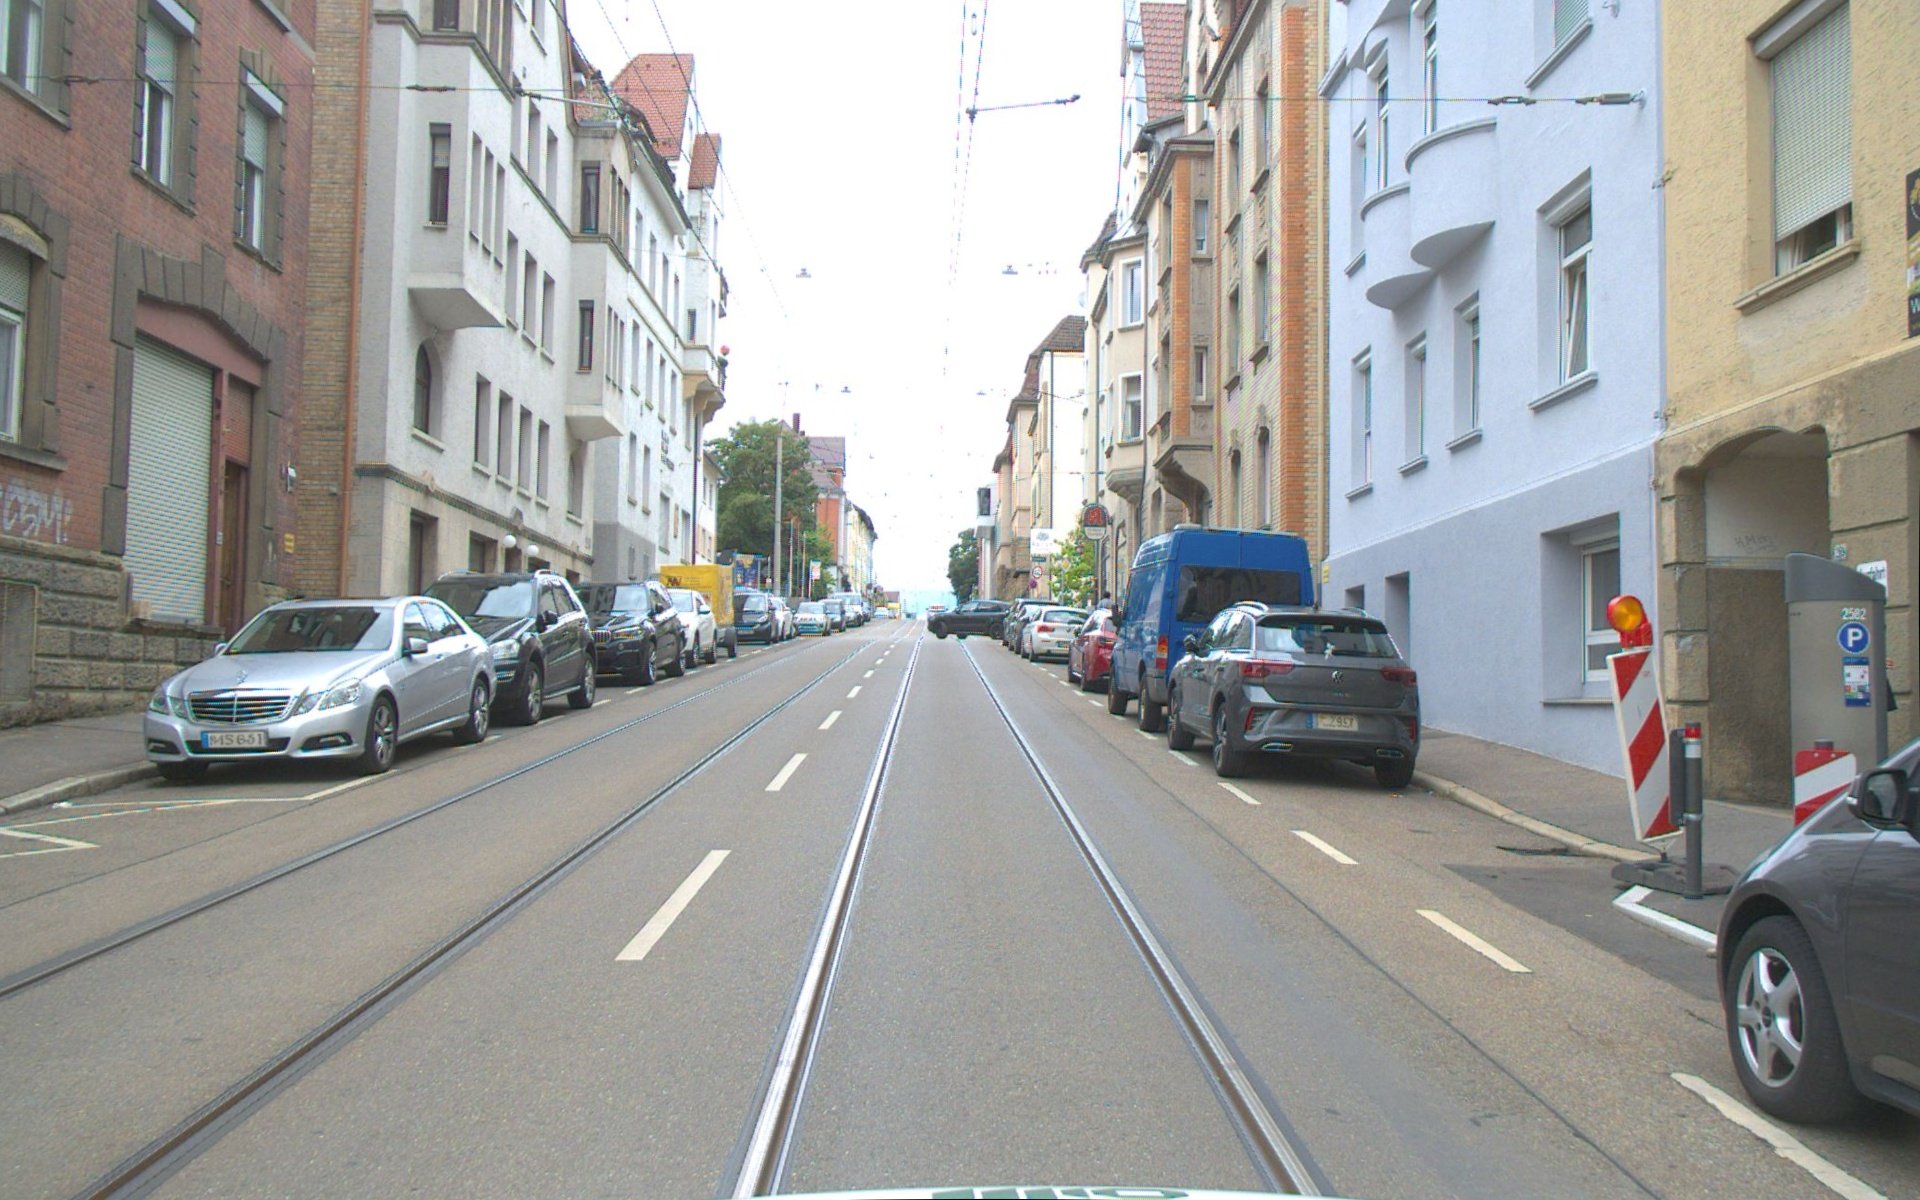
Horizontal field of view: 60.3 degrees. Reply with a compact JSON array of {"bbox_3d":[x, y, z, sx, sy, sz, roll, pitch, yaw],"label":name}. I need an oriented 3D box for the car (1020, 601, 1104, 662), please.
[{"bbox_3d":[2.602,0.782,43.188,1.715,1.415,4.306,3,0,-2],"label":"car"}]

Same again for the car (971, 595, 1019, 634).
[{"bbox_3d":[1.482,0.601,71.511,1.953,1.590,4.289,1,0,0],"label":"car"}]

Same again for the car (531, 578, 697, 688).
[{"bbox_3d":[-5.881,0.511,28.702,1.835,1.693,4.891,-1,0,0],"label":"car"}]

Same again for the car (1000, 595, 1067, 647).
[{"bbox_3d":[2.388,0.682,54.797,1.700,1.564,4.571,3,0,-3],"label":"car"}]

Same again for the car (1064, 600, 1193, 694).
[{"bbox_3d":[2.992,0.804,30.216,1.744,1.501,4.588,3,0,-1],"label":"car"}]

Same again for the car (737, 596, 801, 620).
[{"bbox_3d":[-12.395,0.495,107.570,3.978,1.470,1.687,1,0,-2],"label":"car"}]

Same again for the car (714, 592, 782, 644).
[{"bbox_3d":[-6.451,0.545,50.580,1.662,1.494,3.023,-1,0,-1],"label":"car"}]

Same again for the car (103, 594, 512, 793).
[{"bbox_3d":[-5.618,0.702,14.998,1.790,1.454,4.838,-1,0,0],"label":"car"}]

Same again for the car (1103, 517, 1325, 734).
[{"bbox_3d":[3.102,0.318,21.255,1.953,2.418,5.055,1,-1,-1],"label":"car"}]

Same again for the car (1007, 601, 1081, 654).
[{"bbox_3d":[2.475,0.785,49.520,1.744,1.415,4.690,3,0,-2],"label":"car"}]

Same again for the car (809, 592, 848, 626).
[{"bbox_3d":[-7.084,0.471,89.509,1.708,1.766,4.519,-1,0,1],"label":"car"}]

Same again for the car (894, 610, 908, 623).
[{"bbox_3d":[-7.704,2.083,215.799,1.817,1.635,4.296,1,0,-1],"label":"car"}]

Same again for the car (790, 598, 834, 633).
[{"bbox_3d":[-7.006,0.742,78.406,1.662,1.583,3.850,1,0,1],"label":"car"}]

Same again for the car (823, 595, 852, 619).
[{"bbox_3d":[-7.960,0.453,107.751,1.663,1.458,4.479,-1,0,-2],"label":"car"}]

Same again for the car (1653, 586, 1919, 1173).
[{"bbox_3d":[3.458,0.786,3.992,1.790,1.545,4.027,3,0,-1],"label":"car"}]

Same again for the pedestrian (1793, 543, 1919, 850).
[{"bbox_3d":[5.338,0.551,9.651,0.530,1.711,0.515,-3,-3,-9],"label":"pedestrian"}]

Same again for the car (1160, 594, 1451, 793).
[{"bbox_3d":[3.172,0.796,16.063,1.744,1.557,4.191,4,0,-2],"label":"car"}]

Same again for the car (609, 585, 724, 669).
[{"bbox_3d":[-6.108,0.520,34.865,1.662,1.621,4.268,-1,0,0],"label":"car"}]

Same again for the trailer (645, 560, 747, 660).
[{"bbox_3d":[-6.168,0.211,39.034,1.713,2.193,4.071,-1,0,0],"label":"trailer"}]

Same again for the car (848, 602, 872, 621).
[{"bbox_3d":[-7.820,0.895,129.705,1.677,1.472,4.289,1,0,0],"label":"car"}]

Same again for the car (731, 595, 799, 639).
[{"bbox_3d":[-6.533,0.558,55.841,1.743,1.381,4.291,1,0,0],"label":"car"}]

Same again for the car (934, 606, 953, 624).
[{"bbox_3d":[-1.479,1.330,147.293,1.638,1.539,3.796,1,0,-2],"label":"car"}]

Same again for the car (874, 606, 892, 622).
[{"bbox_3d":[-8.481,1.531,182.801,1.817,1.635,4.296,1,0,-1],"label":"car"}]

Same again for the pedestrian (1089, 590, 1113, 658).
[{"bbox_3d":[3.875,0.652,45.497,0.587,1.834,0.631,1,-1,-1],"label":"pedestrian"}]

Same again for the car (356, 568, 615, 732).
[{"bbox_3d":[-5.688,0.529,20.516,1.790,1.748,4.913,-1,0,0],"label":"car"}]

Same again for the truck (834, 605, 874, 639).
[{"bbox_3d":[-7.304,1.457,114.722,2.233,2.226,8.024,1,0,0],"label":"truck"}]

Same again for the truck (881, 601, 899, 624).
[{"bbox_3d":[-10.058,1.822,237.150,2.256,3.090,9.031,1,-1,-1],"label":"truck"}]
